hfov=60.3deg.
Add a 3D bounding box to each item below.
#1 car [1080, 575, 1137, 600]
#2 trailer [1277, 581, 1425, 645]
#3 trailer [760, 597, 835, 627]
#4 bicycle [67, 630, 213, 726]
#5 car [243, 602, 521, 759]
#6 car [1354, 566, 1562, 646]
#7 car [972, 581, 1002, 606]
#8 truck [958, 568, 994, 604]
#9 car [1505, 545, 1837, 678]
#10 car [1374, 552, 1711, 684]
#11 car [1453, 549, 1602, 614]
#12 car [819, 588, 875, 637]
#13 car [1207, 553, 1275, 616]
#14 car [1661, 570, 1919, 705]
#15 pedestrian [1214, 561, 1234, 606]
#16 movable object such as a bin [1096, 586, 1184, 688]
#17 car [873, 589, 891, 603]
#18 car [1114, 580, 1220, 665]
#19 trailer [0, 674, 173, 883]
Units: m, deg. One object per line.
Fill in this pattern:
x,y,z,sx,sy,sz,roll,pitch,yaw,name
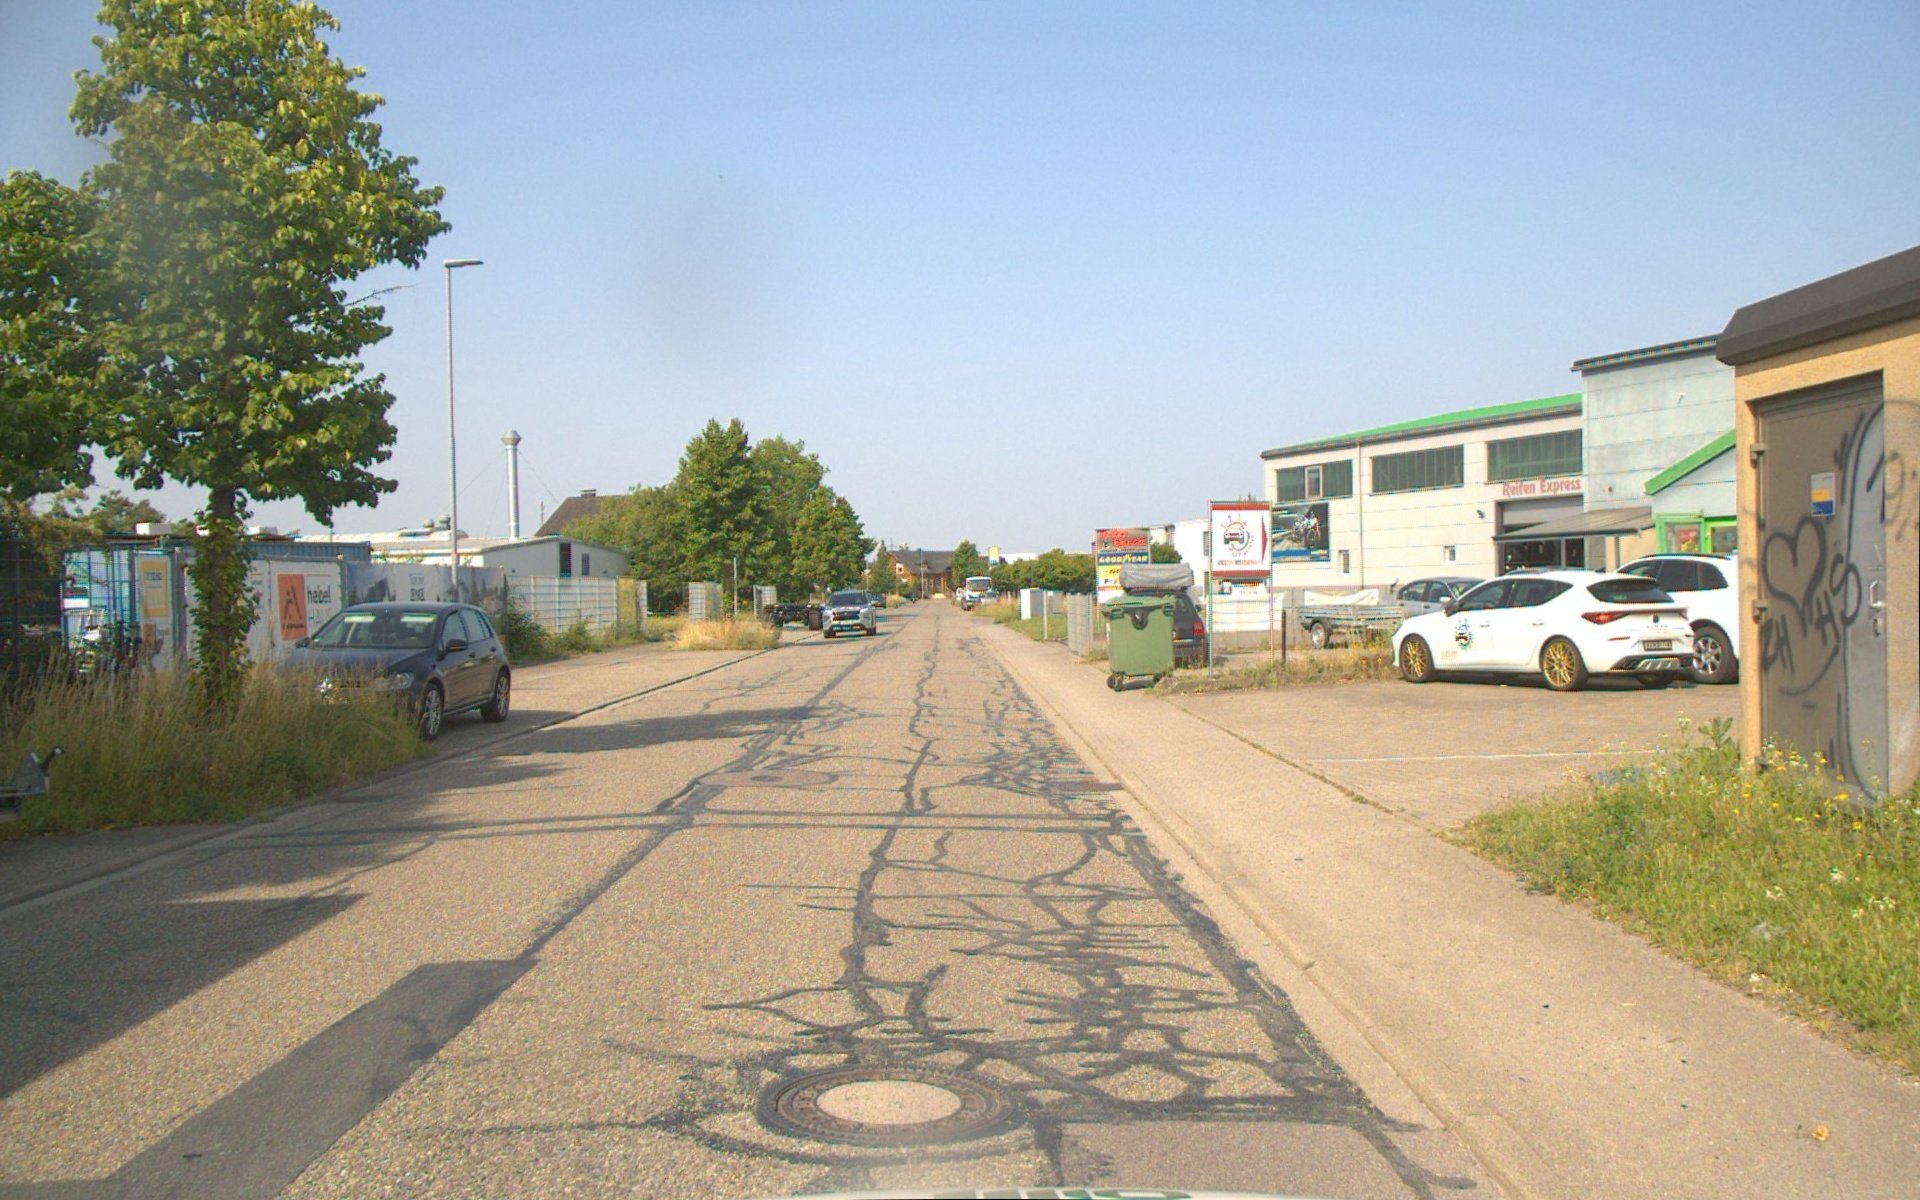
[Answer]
10.895,-0.929,120.955,1.659,1.616,4.502,-1,1,44,car
8.094,0.245,34.413,1.472,1.270,2.952,-1,0,-26,trailer
-7.106,0.485,73.405,2.530,1.205,9.361,0,0,-1,trailer
-9.818,0.899,19.904,0.551,0.990,2.452,-2,1,-1,bicycle
-6.424,0.819,18.878,1.653,1.495,4.094,-2,1,1,car
10.229,0.124,34.328,1.618,1.491,4.426,-2,1,-24,car
1.733,-0.418,108.763,1.758,1.544,4.423,-2,1,-1,car
1.238,-1.119,132.225,2.313,2.728,6.505,-2,1,-4,truck
9.610,0.141,22.702,1.693,1.599,4.101,-2,1,-24,car
7.428,0.209,21.536,1.666,1.491,4.229,-2,1,-24,car
14.881,-0.470,43.541,1.611,1.595,3.780,-2,0,-22,car
-4.067,0.427,60.166,1.775,1.655,4.248,-2,1,-1,car
12.904,-0.721,76.285,1.934,2.752,5.879,-2,0,-1,car
11.940,0.496,23.734,1.618,1.750,3.189,-2,1,-25,car
9.998,-0.623,62.599,0.687,1.668,0.749,-2,0,11,pedestrian
2.650,0.521,24.510,1.059,1.376,1.506,-4,0,0,movable object such as a bin
-7.905,-0.426,167.910,1.763,1.411,3.637,0,1,-1,car
3.734,0.357,30.384,1.638,1.392,4.396,-2,1,4,car
-6.416,1.081,7.713,2.595,1.002,6.241,-2,1,-1,trailer
